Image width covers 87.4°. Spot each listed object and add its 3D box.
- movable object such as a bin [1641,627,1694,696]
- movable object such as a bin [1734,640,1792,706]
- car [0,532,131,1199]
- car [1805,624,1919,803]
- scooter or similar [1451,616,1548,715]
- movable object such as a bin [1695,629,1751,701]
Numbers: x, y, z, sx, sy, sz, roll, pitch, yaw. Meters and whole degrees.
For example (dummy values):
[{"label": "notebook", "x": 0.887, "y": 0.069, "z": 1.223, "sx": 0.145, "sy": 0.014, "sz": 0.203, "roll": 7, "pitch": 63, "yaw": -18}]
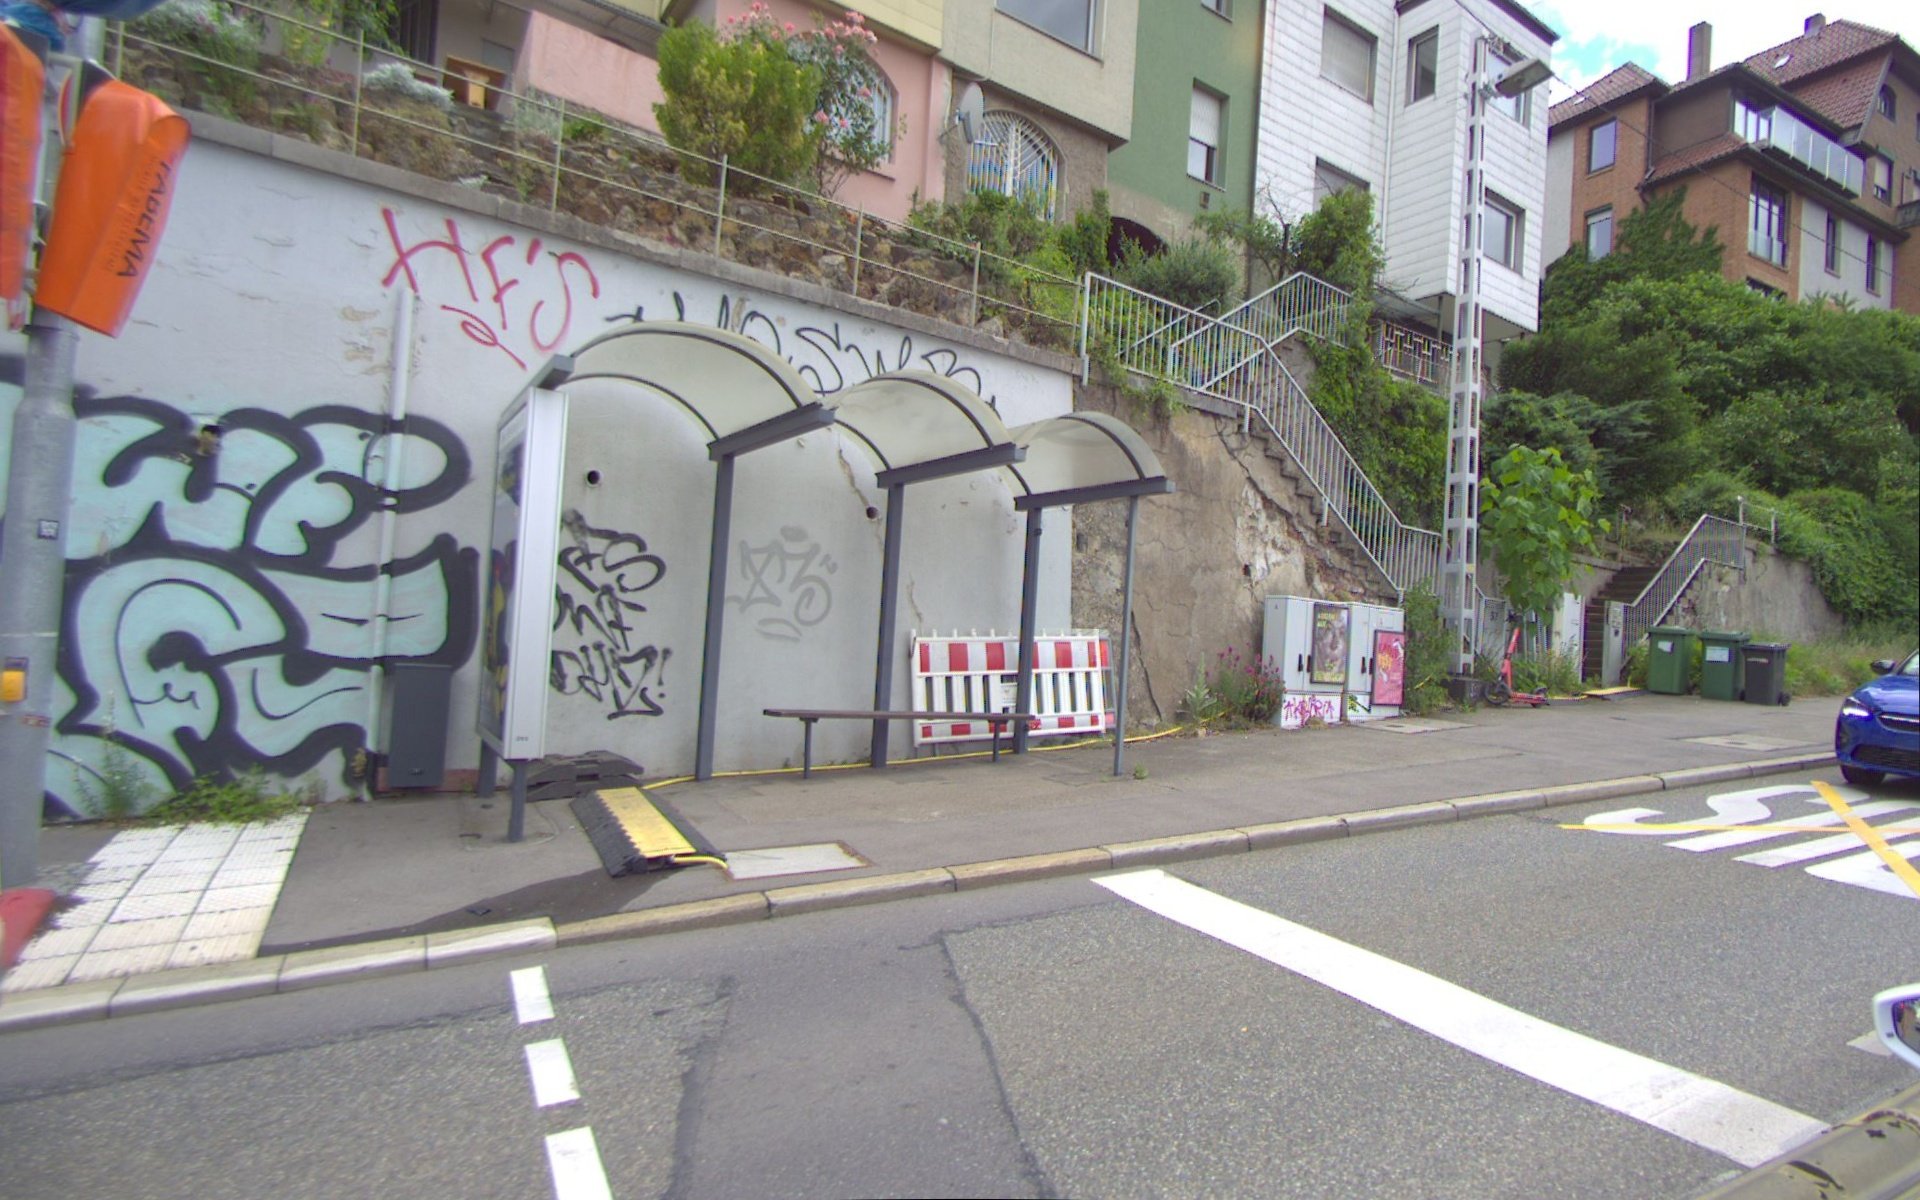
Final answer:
[{"label": "movable object such as a bin", "x": 11.410, "y": 0.978, "z": 16.200, "sx": 0.617, "sy": 1.068, "sz": 0.465, "roll": 1, "pitch": 1, "yaw": -30}, {"label": "movable object such as a bin", "x": 12.119, "y": 1.085, "z": 15.166, "sx": 0.617, "sy": 0.947, "sz": 0.465, "roll": 1, "pitch": 1, "yaw": -30}, {"label": "car", "x": -3.956, "y": 0.639, "z": 1.248, "sx": 4.212, "sy": 1.621, "sz": 1.833, "roll": 1, "pitch": -1, "yaw": -30}, {"label": "car", "x": 9.459, "y": 0.963, "z": 9.010, "sx": 3.776, "sy": 1.439, "sz": 1.718, "roll": 1, "pitch": -1, "yaw": -30}, {"label": "scooter or similar", "x": 7.120, "y": 0.840, "z": 13.239, "sx": 1.420, "sy": 1.221, "sz": 0.457, "roll": 1, "pitch": 2, "yaw": -33}, {"label": "movable object such as a bin", "x": 11.864, "y": 1.000, "z": 15.619, "sx": 0.617, "sy": 1.068, "sz": 0.465, "roll": 1, "pitch": 1, "yaw": -30}]
